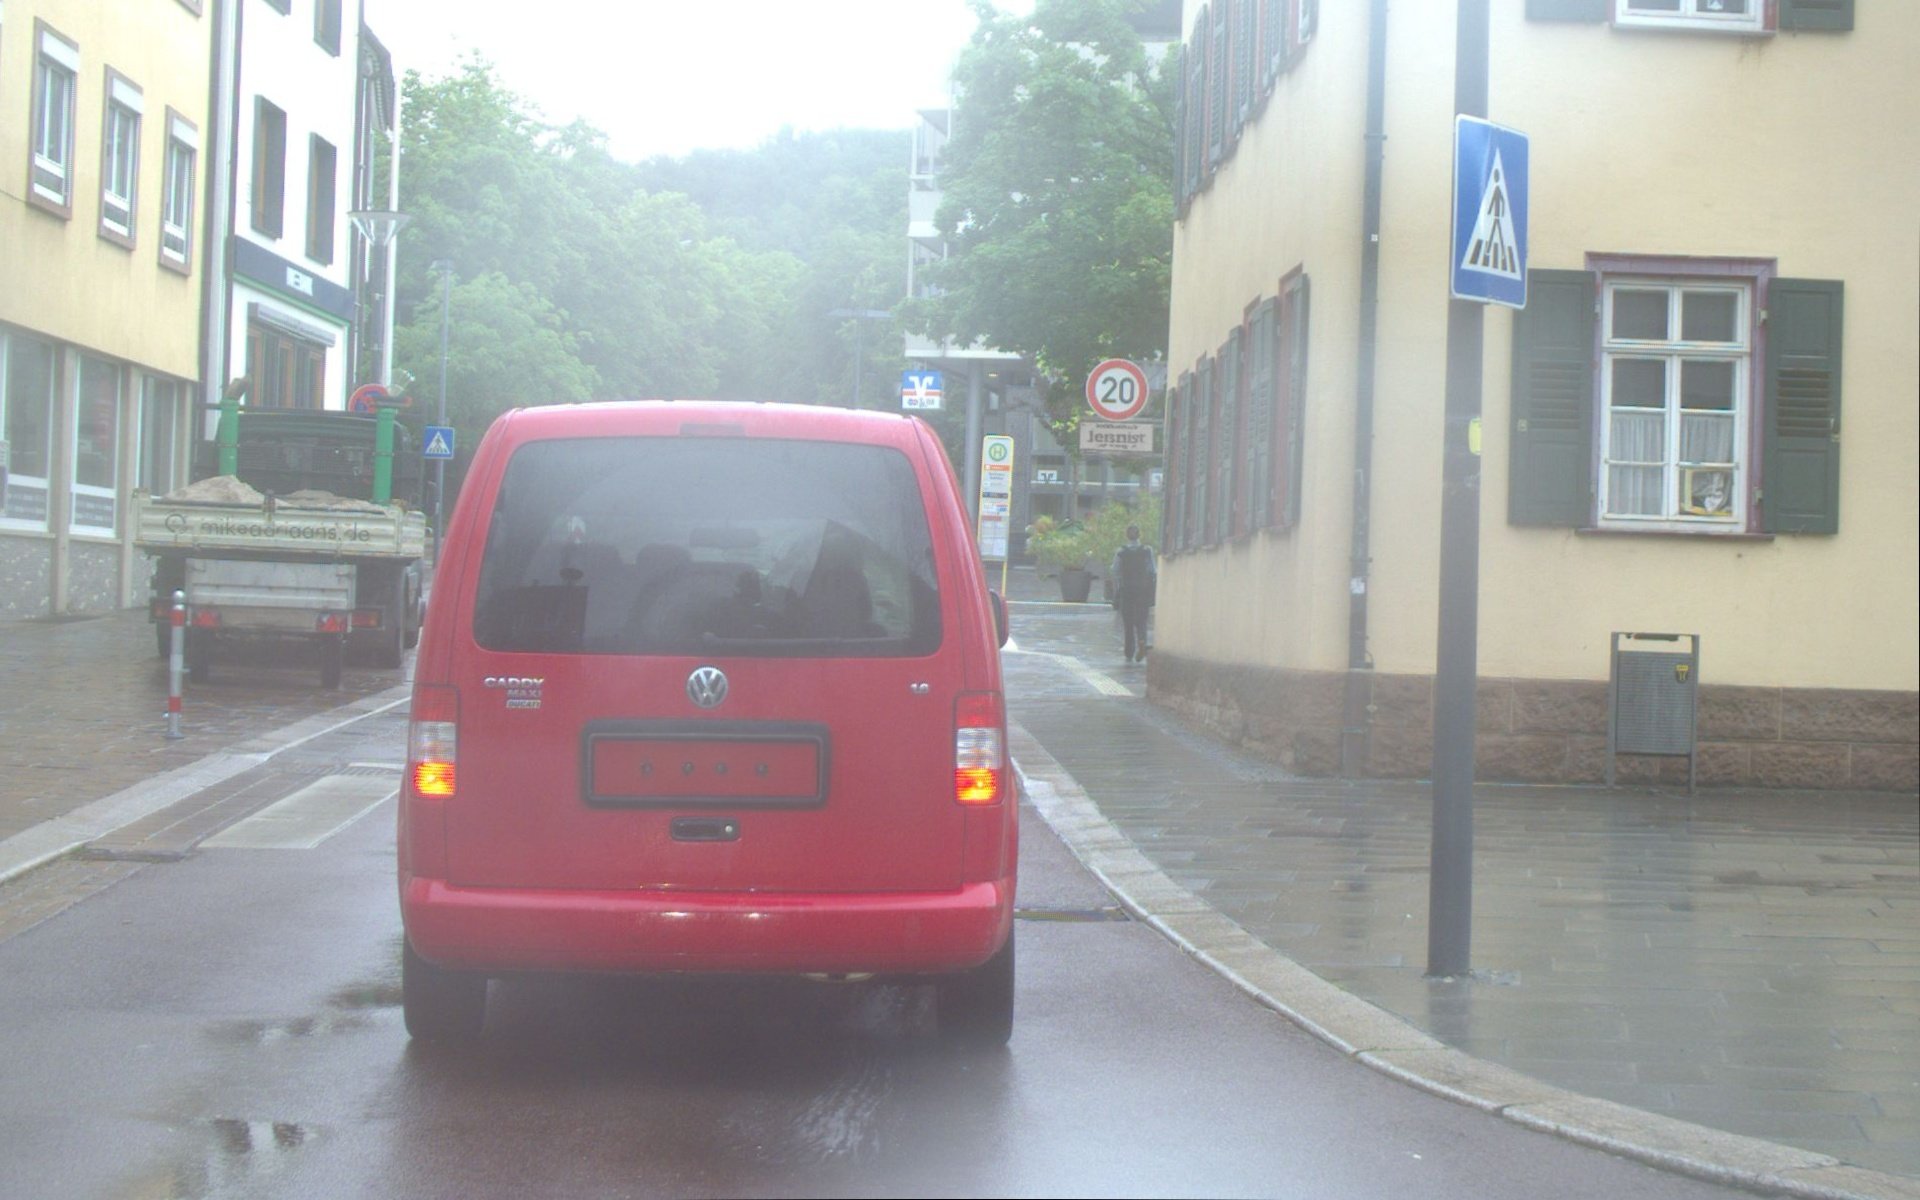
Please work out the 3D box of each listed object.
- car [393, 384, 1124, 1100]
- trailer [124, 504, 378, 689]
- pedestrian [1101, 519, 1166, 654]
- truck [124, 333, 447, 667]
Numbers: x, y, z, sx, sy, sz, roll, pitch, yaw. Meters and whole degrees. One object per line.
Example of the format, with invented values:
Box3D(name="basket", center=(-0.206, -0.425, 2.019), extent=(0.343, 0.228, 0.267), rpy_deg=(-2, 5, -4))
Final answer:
Box3D(name="car", center=(-0.714, 0.329, 10.925), extent=(1.862, 1.824, 4.186), rpy_deg=(1, 1, -6))
Box3D(name="trailer", center=(-5.649, -0.068, 27.689), extent=(1.727, 1.342, 3.161), rpy_deg=(1, 2, -7))
Box3D(name="pedestrian", center=(2.093, -0.166, 41.443), extent=(0.728, 1.611, 0.694), rpy_deg=(1, 1, 1))
Box3D(name="truck", center=(-6.216, -0.972, 32.500), extent=(2.473, 2.785, 6.602), rpy_deg=(1, 2, -7))
